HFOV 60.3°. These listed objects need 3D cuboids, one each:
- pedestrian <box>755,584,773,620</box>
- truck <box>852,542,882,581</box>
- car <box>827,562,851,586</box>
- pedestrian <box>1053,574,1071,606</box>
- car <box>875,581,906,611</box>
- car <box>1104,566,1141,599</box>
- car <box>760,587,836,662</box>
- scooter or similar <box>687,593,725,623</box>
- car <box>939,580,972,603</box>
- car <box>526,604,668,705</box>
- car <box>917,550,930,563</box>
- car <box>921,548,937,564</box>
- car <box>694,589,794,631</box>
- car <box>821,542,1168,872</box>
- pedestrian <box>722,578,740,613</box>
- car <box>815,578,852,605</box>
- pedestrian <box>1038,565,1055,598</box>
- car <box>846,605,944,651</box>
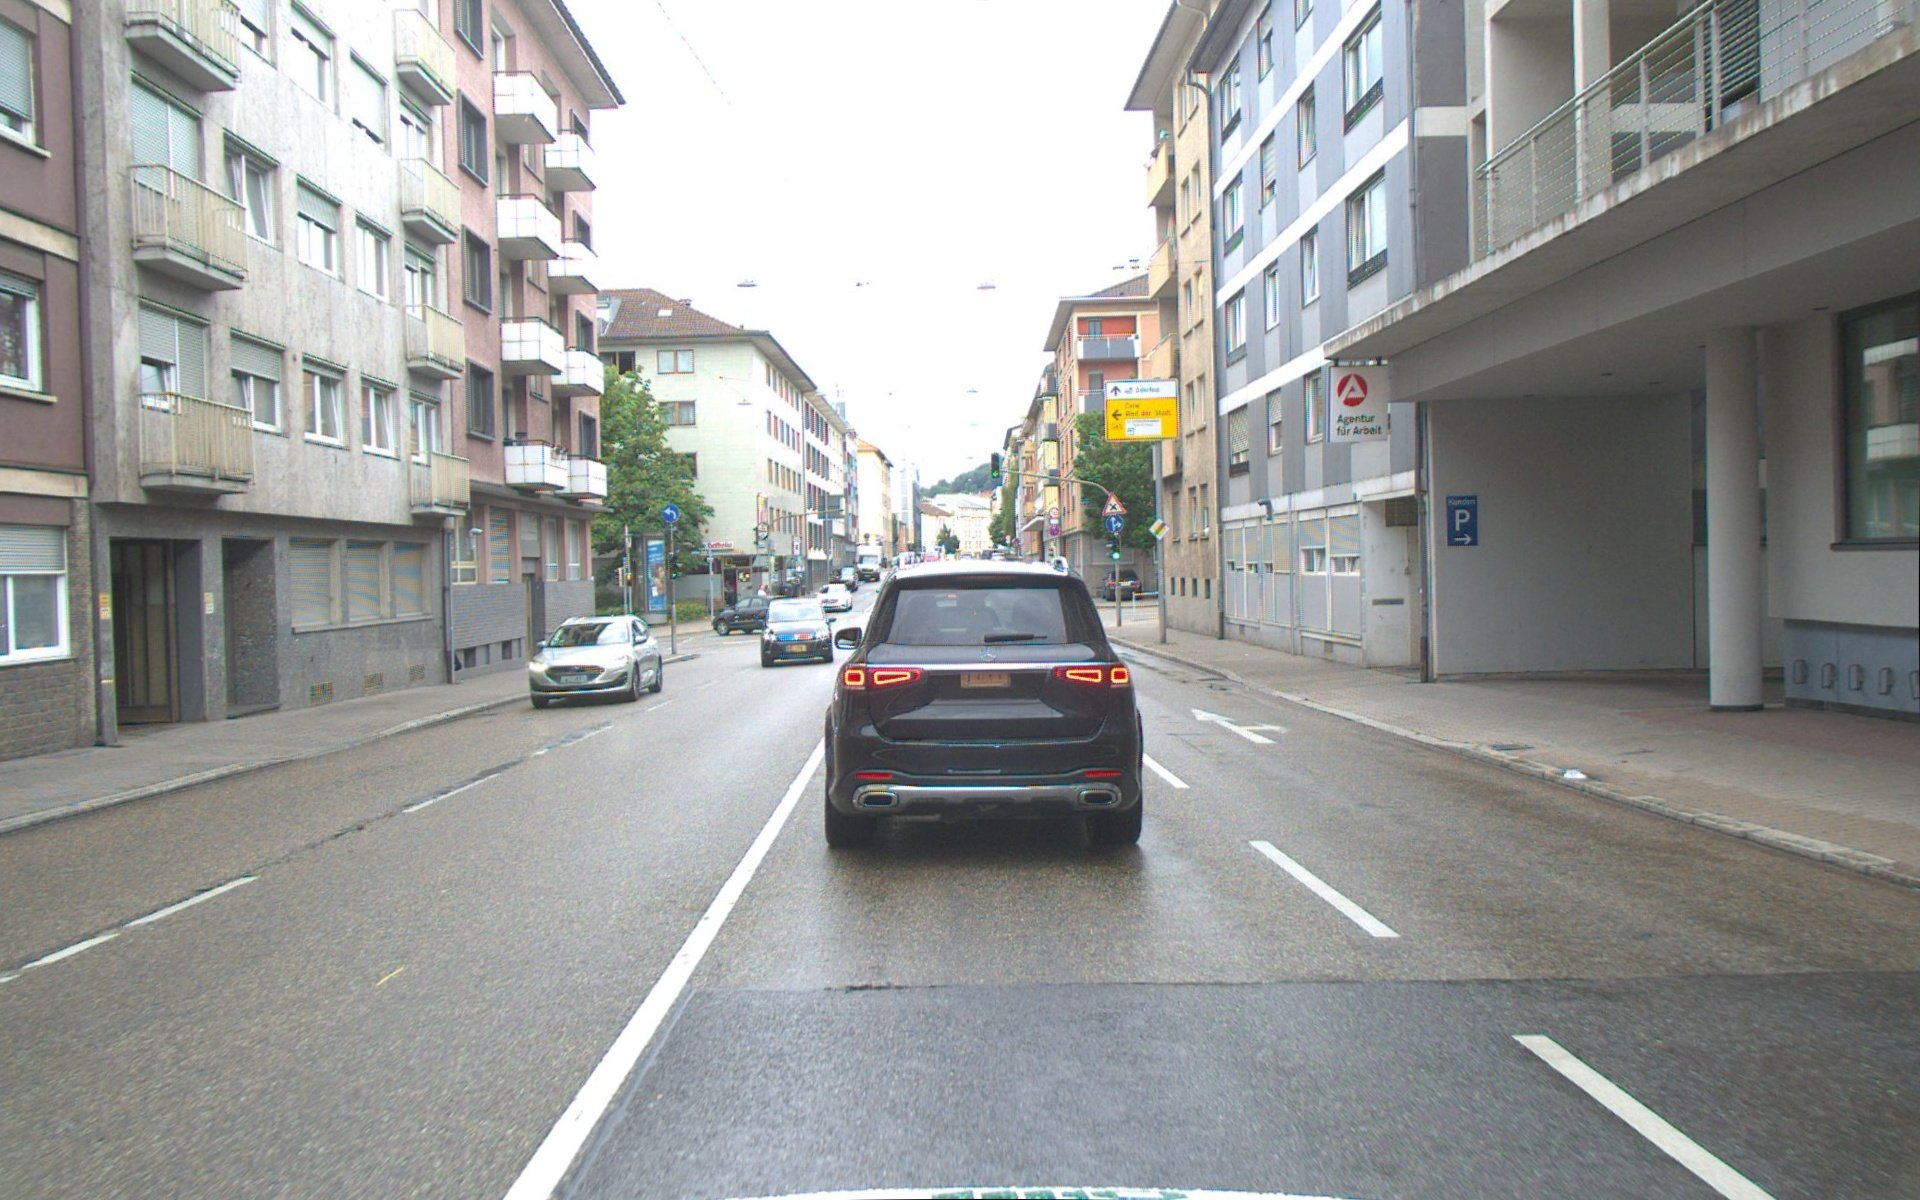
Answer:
[{"bbox_3d":[-10.035,0.107,84.720,0.622,1.795,0.774,-2,0,16],"label":"pedestrian"},{"bbox_3d":[-8.255,-3.378,147.391,2.430,3.099,9.914,-3,0,-3],"label":"truck"},{"bbox_3d":[-8.904,-1.923,121.934,1.586,1.566,4.215,-3,0,-3],"label":"car"},{"bbox_3d":[5.942,-0.593,96.566,0.904,1.836,0.706,-2,0,-3],"label":"pedestrian"},{"bbox_3d":[-3.867,-0.201,91.599,1.586,1.566,4.215,-3,0,-3],"label":"car"},{"bbox_3d":[8.348,-0.906,85.170,1.636,1.616,3.331,-2,0,1],"label":"car"},{"bbox_3d":[-4.112,0.574,42.222,1.738,1.674,4.407,-3,1,-5],"label":"car"},{"bbox_3d":[-12.906,0.401,84.072,0.859,1.485,1.851,-2,0,32],"label":"scooter or similar"},{"bbox_3d":[-0.311,-0.534,106.897,1.953,1.375,3.999,-3,0,-2],"label":"car"},{"bbox_3d":[-6.361,0.920,29.419,1.737,1.566,4.355,-3,0,-4],"label":"car"},{"bbox_3d":[-5.325,-6.320,240.398,1.586,1.566,4.215,-3,0,-3],"label":"car"},{"bbox_3d":[-3.573,-4.985,189.147,1.586,1.566,4.215,-3,0,-3],"label":"car"},{"bbox_3d":[-9.196,0.433,70.299,4.279,1.566,1.768,-3,-1,41],"label":"car"},{"bbox_3d":[0.171,0.629,11.606,1.944,1.837,4.389,1,-1,-1],"label":"car"},{"bbox_3d":[-12.764,-0.249,92.240,0.904,1.935,0.706,-2,0,-3],"label":"pedestrian"},{"bbox_3d":[-6.915,-0.453,90.808,1.848,1.286,4.215,-3,0,-3],"label":"car"},{"bbox_3d":[5.457,-1.139,104.222,0.904,2.049,0.706,-2,0,-3],"label":"pedestrian"},{"bbox_3d":[-2.473,1.062,62.287,1.755,1.566,4.311,-3,-1,-32],"label":"car"}]
